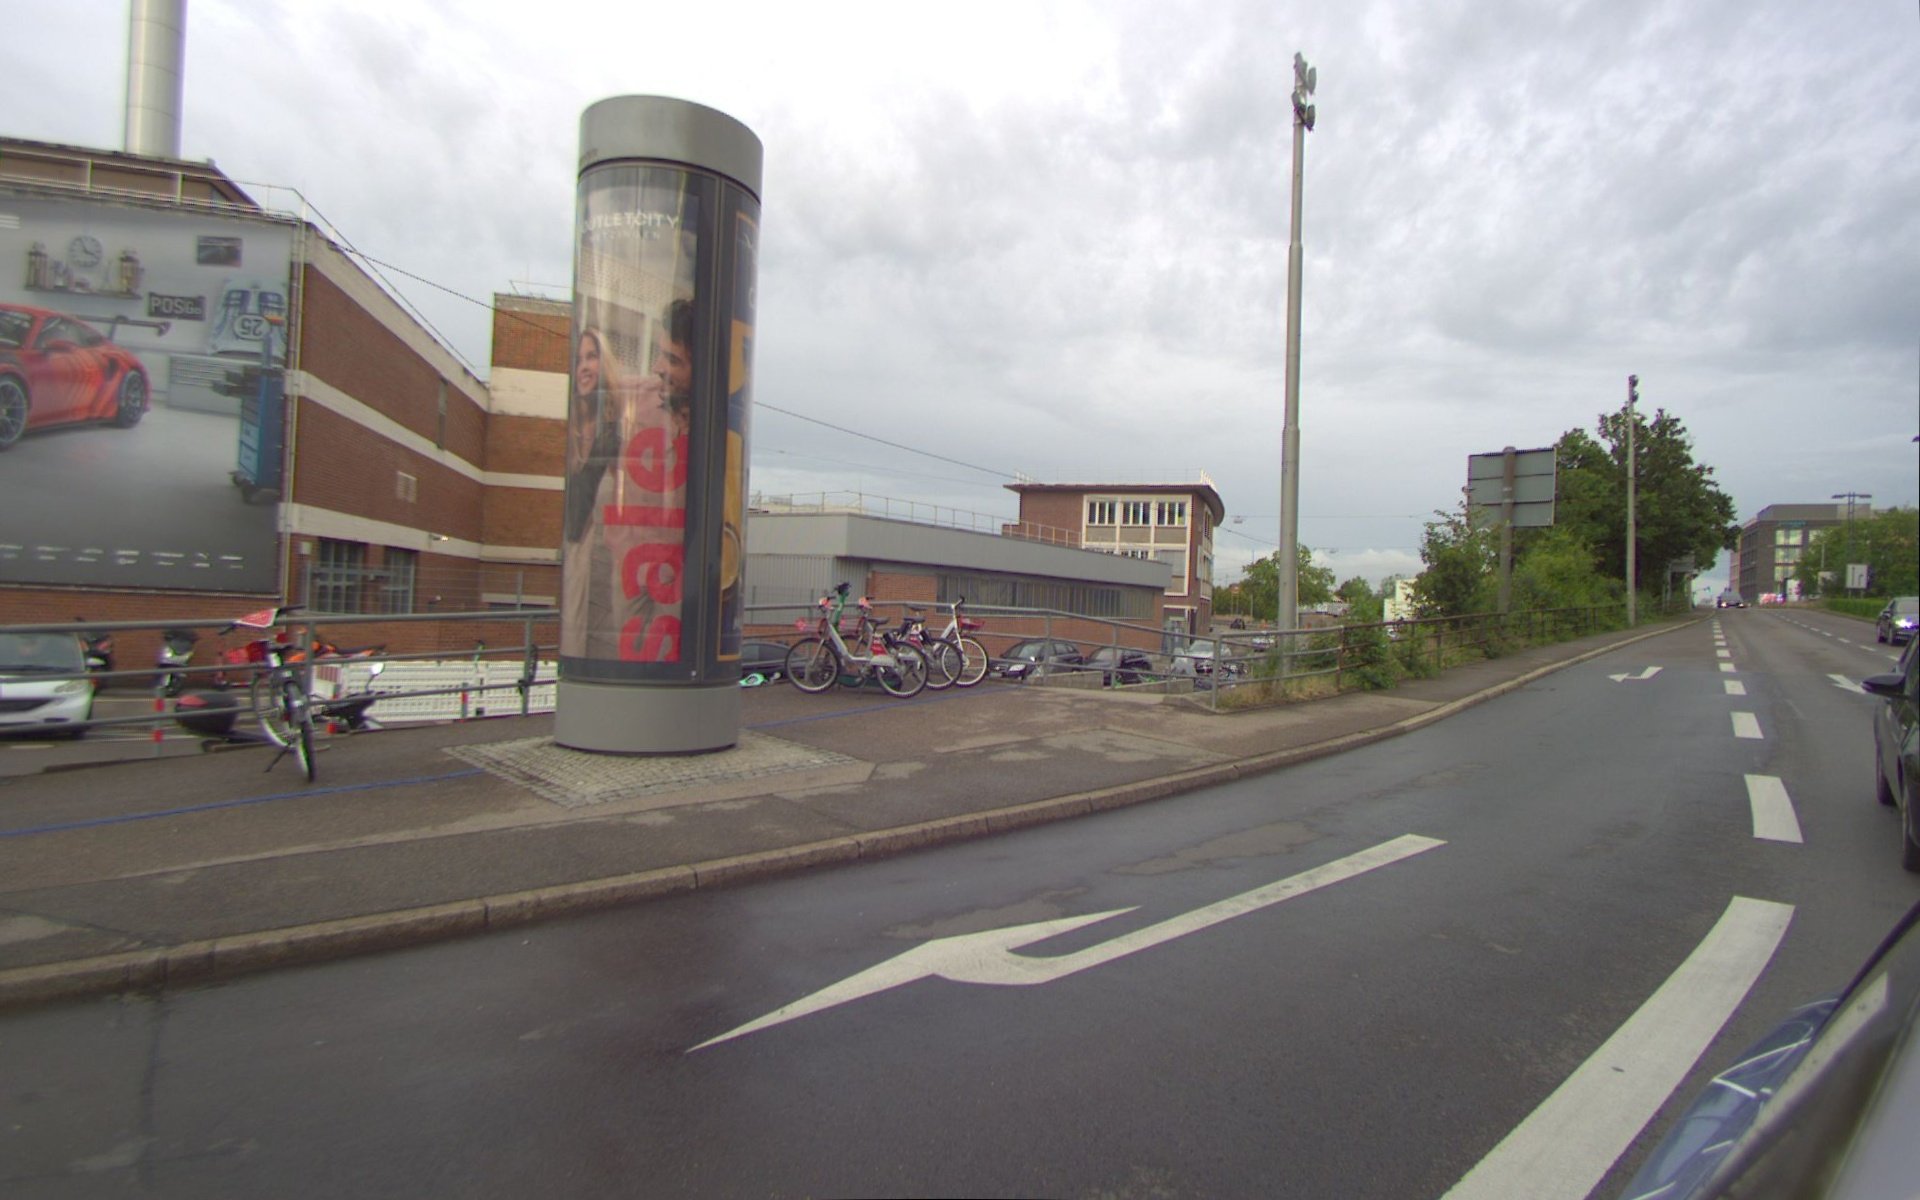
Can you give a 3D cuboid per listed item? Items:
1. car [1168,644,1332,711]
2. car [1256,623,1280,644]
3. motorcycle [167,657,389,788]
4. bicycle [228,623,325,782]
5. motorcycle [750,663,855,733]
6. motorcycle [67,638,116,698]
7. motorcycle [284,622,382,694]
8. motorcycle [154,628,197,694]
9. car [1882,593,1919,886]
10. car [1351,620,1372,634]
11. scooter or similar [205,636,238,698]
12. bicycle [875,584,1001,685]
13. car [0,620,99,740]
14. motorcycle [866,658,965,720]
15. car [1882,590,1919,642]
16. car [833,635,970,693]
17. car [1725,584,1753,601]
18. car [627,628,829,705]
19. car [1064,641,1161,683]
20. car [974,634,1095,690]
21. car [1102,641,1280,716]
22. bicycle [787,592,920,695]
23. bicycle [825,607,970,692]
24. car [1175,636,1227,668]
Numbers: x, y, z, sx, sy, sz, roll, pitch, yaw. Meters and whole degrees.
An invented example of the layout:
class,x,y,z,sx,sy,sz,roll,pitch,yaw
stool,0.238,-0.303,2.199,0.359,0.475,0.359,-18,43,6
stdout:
class,x,y,z,sx,sy,sz,roll,pitch,yaw
car,7.620,1.993,26.911,1.688,1.444,3.999,2,-1,-36
car,23.312,2.493,76.590,1.698,1.444,3.976,1,0,18
motorcycle,-5.738,0.992,8.594,0.400,0.901,1.521,1,1,36
bicycle,-4.831,0.665,7.120,0.414,0.933,1.615,1,0,-39
motorcycle,-2.346,1.440,15.059,1.600,0.933,0.417,0,0,27
motorcycle,-16.175,1.246,18.872,0.531,0.985,1.616,-1,0,-35
motorcycle,-12.873,1.162,20.814,0.521,1.350,1.646,-1,0,38
motorcycle,-15.228,1.151,19.674,0.574,1.166,1.720,-1,0,-35
car,6.777,0.732,6.070,1.687,1.526,3.953,0,1,40
car,44.921,3.025,113.276,1.695,1.444,3.982,1,0,14
scooter or similar,-14.638,1.303,20.080,0.495,1.110,1.639,-1,0,-35
bicycle,-0.281,0.417,12.841,1.527,1.169,0.448,3,3,22
car,-13.992,1.100,15.144,1.541,1.508,3.992,2,-1,-42
motorcycle,-0.734,1.433,16.483,1.599,0.933,0.418,0,0,25
car,29.196,0.441,30.346,1.807,1.456,4.246,0,1,36
car,-1.605,1.770,28.951,1.712,1.444,3.943,1,-1,39
car,69.290,-0.682,90.064,1.738,1.493,4.019,0,0,34
car,-5.353,1.481,23.866,1.880,1.570,4.445,1,-1,38
car,5.931,2.345,39.007,1.713,1.422,4.211,1,-1,41
car,2.588,2.049,34.335,1.777,1.688,4.438,1,-1,41
car,5.371,1.787,23.963,1.688,1.444,3.999,2,-1,-36
bicycle,-1.221,0.484,11.651,1.438,1.087,0.442,2,2,9
bicycle,-0.736,0.578,12.121,1.673,0.933,0.486,1,1,4
car,12.149,2.599,50.842,1.716,1.406,3.963,1,-1,26
